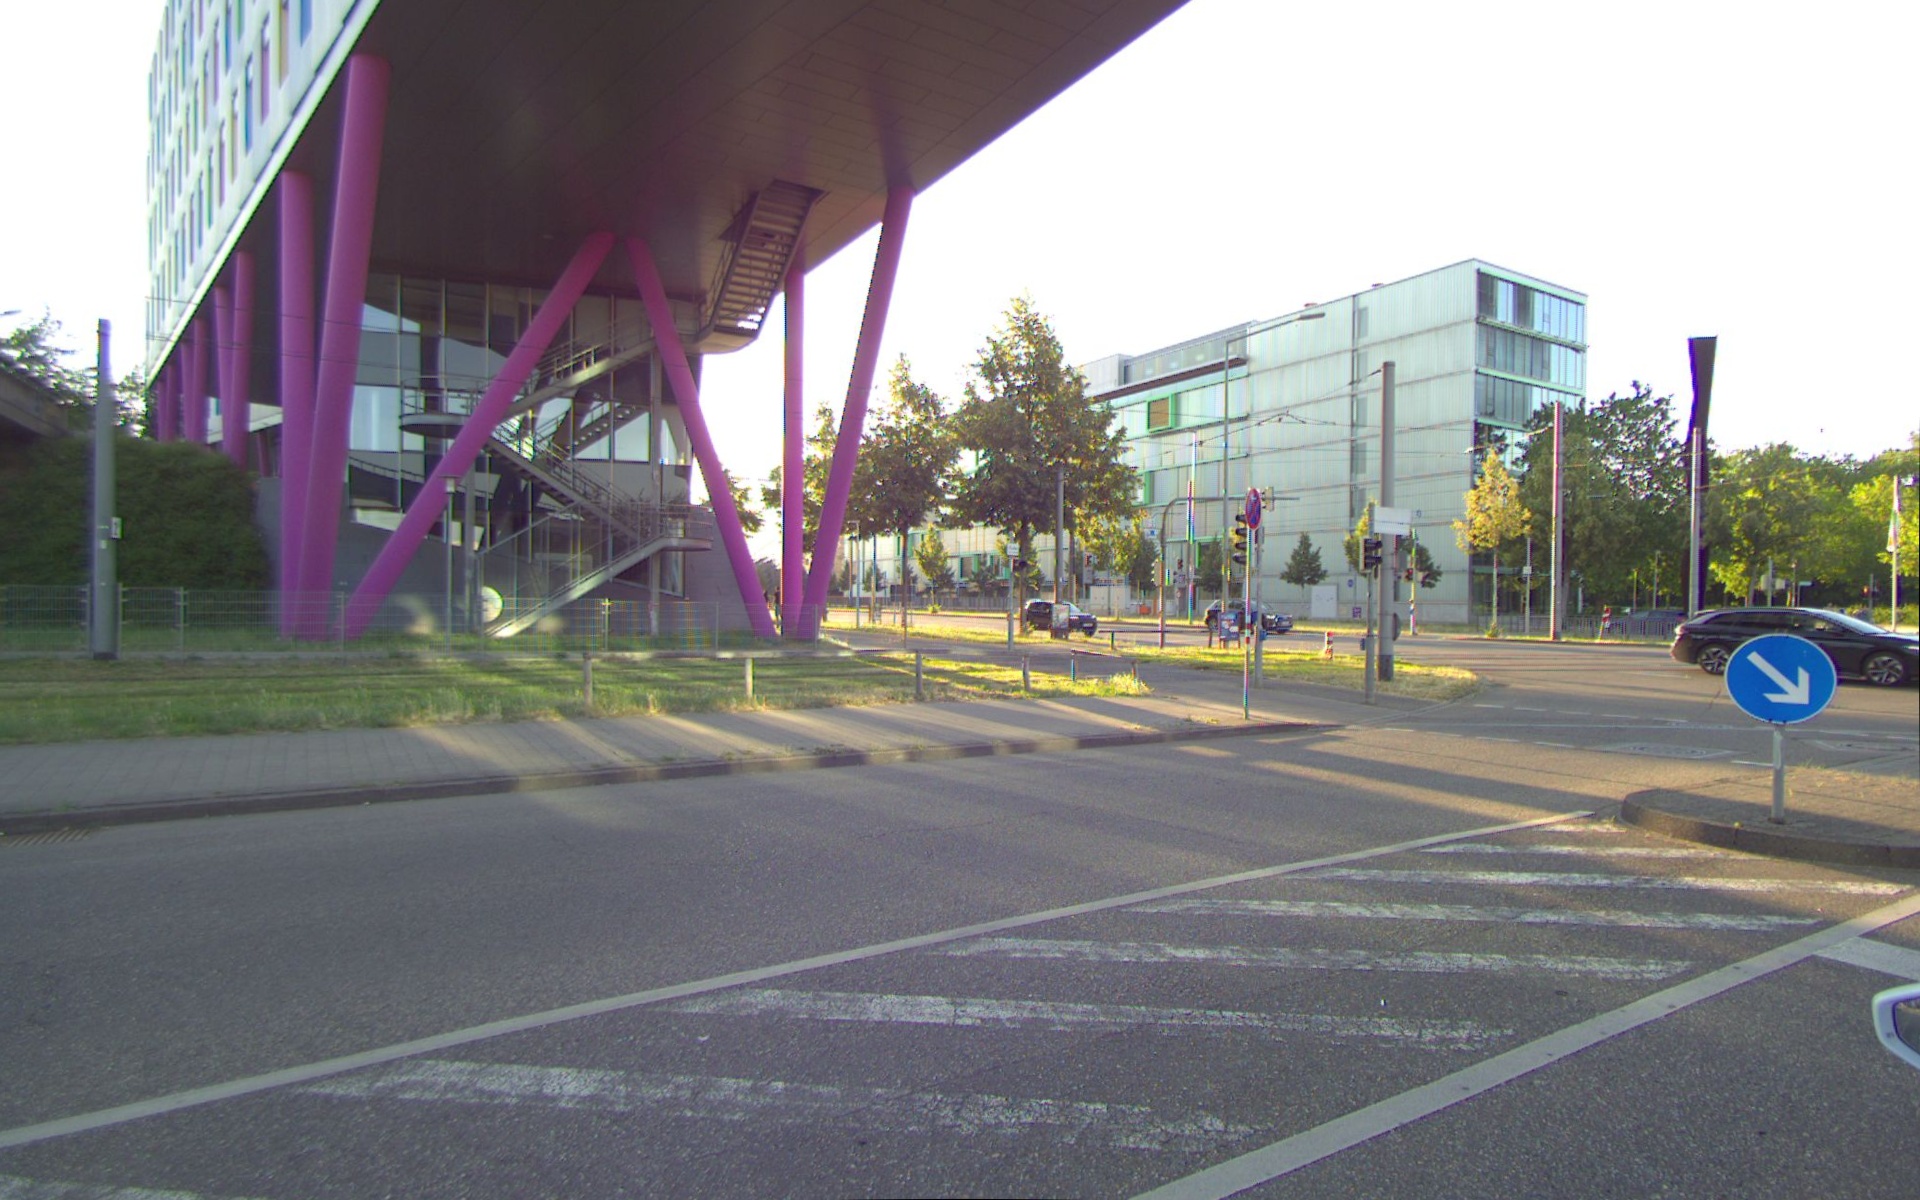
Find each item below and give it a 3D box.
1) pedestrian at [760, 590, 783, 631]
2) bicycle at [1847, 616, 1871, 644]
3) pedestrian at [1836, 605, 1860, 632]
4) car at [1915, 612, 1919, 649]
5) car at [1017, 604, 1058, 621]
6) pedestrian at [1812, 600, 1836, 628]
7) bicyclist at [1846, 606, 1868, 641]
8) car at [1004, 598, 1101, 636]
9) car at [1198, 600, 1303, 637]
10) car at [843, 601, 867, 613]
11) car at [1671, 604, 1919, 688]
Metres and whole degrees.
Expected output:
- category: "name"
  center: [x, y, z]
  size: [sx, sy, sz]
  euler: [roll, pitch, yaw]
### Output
- category: "pedestrian"
  center: [-8.142, 0.450, 43.436]
  size: [0.916, 1.747, 0.882]
  euler: [0, -2, -9]
- category: "bicycle"
  center: [45.214, 1.499, 50.539]
  size: [0.721, 1.359, 2.679]
  euler: [1, 0, 39]
- category: "pedestrian"
  center: [58.213, 1.208, 65.855]
  size: [0.814, 1.767, 0.863]
  euler: [1, 0, 1]
- category: "car"
  center: [43.075, 1.336, 41.396]
  size: [1.977, 1.572, 5.075]
  euler: [2, -1, -30]
- category: "car"
  center: [6.865, 1.098, 89.188]
  size: [1.973, 1.506, 3.974]
  euler: [1, 0, -25]
- category: "pedestrian"
  center: [56.625, 0.905, 65.851]
  size: [0.814, 1.767, 0.863]
  euler: [1, 0, -1]
- category: "bicyclist"
  center: [45.117, 1.162, 50.502]
  size: [0.741, 1.732, 0.916]
  euler: [1, 0, 38]
- category: "car"
  center: [4.054, 0.722, 44.748]
  size: [1.979, 1.595, 4.407]
  euler: [1, 0, -34]
- category: "car"
  center: [13.300, 0.808, 46.193]
  size: [1.968, 1.577, 4.448]
  euler: [1, 0, -34]
- category: "car"
  center: [-14.533, 0.957, 138.822]
  size: [1.782, 1.516, 4.314]
  euler: [2, -1, -28]
- category: "car"
  center: [18.887, 0.937, 22.144]
  size: [1.979, 1.636, 4.879]
  euler: [1, 0, -33]
